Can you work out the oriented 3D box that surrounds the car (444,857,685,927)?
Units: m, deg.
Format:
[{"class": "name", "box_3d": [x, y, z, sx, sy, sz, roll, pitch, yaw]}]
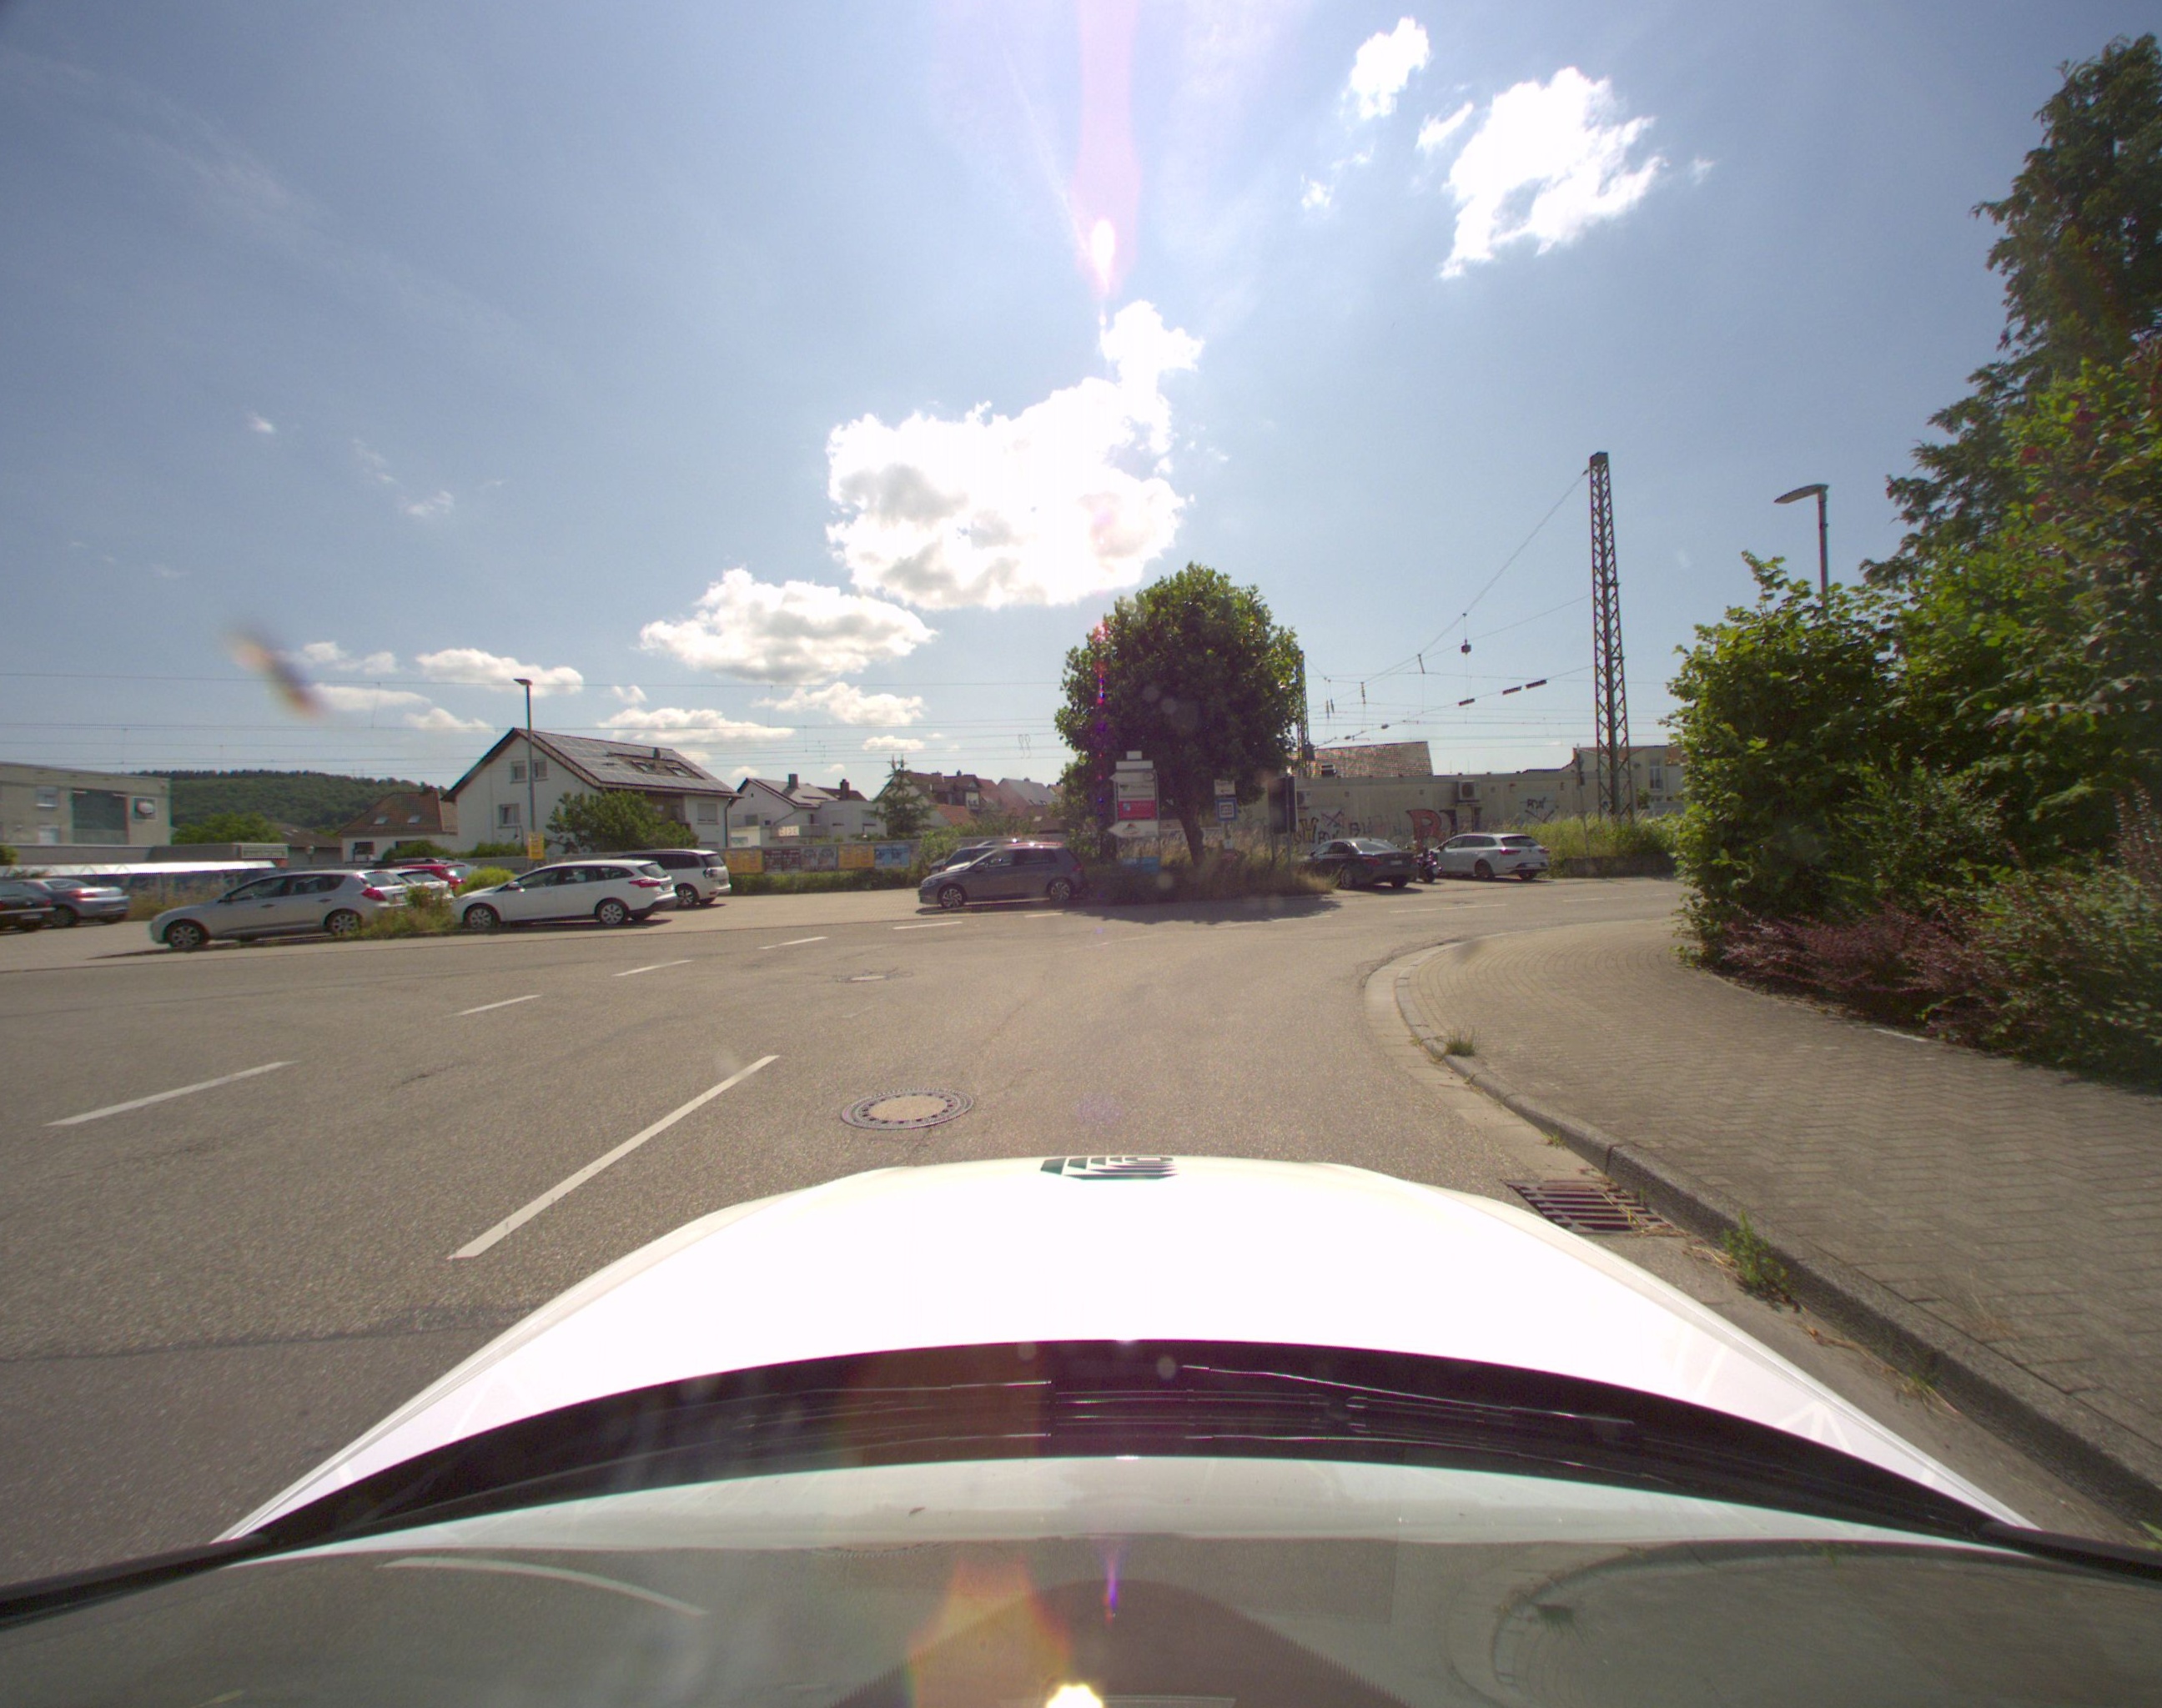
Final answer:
[{"class": "car", "box_3d": [-11.733, 0.830, 18.790, 4.283, 1.477, 1.821, 0, 0, -10]}]

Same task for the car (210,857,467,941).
[{"class": "car", "box_3d": [-18.178, 1.048, 20.189, 4.168, 1.638, 1.945, -4, 0, -15]}]

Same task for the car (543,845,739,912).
[{"class": "car", "box_3d": [-12.511, 0.644, 23.426, 4.447, 1.690, 1.996, -2, 1, -7]}]

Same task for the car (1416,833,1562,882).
[{"class": "car", "box_3d": [12.417, 0.046, 25.103, 1.707, 1.377, 4.091, -1, 2, -17]}]

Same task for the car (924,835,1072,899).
[{"class": "car", "box_3d": [-2.353, 0.345, 23.139, 3.984, 1.586, 1.775, -2, 0, -8]}]

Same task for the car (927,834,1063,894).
[{"class": "car", "box_3d": [-2.684, 0.287, 25.449, 3.984, 1.657, 1.995, -2, 0, -8]}]

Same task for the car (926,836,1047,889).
[{"class": "car", "box_3d": [-3.235, 0.283, 27.899, 3.984, 1.730, 1.765, 0, -1, -8]}]

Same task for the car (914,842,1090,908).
[{"class": "car", "box_3d": [-1.967, 0.505, 20.483, 4.183, 1.463, 1.661, -1, 0, -7]}]

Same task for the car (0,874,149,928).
[{"class": "car", "box_3d": [-29.466, 1.308, 23.004, 3.983, 1.420, 1.680, 0, 0, -7]}]

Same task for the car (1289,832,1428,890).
[{"class": "car", "box_3d": [7.851, 0.136, 23.451, 1.756, 1.385, 3.977, -1, 3, -18]}]

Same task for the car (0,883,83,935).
[{"class": "car", "box_3d": [-28.697, 1.482, 20.913, 3.657, 1.222, 1.669, -2, 0, -8]}]

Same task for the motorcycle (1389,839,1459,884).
[{"class": "motorcycle", "box_3d": [10.250, 0.192, 24.426, 0.898, 1.228, 1.987, -2, 2, -14]}]

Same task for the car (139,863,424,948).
[{"class": "car", "box_3d": [-17.236, 1.045, 17.811, 4.009, 1.562, 1.812, -2, 0, -16]}]

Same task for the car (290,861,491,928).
[{"class": "car", "box_3d": [-18.788, 1.054, 22.347, 3.785, 1.558, 1.688, -2, 0, -12]}]

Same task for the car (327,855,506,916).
[{"class": "car", "box_3d": [-19.885, 0.906, 24.521, 3.836, 1.589, 1.490, -2, 0, -14]}]

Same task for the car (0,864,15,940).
[{"class": "car", "box_3d": [-27.508, 1.166, 18.325, 3.987, 1.815, 1.899, 0, 1, -10]}]
